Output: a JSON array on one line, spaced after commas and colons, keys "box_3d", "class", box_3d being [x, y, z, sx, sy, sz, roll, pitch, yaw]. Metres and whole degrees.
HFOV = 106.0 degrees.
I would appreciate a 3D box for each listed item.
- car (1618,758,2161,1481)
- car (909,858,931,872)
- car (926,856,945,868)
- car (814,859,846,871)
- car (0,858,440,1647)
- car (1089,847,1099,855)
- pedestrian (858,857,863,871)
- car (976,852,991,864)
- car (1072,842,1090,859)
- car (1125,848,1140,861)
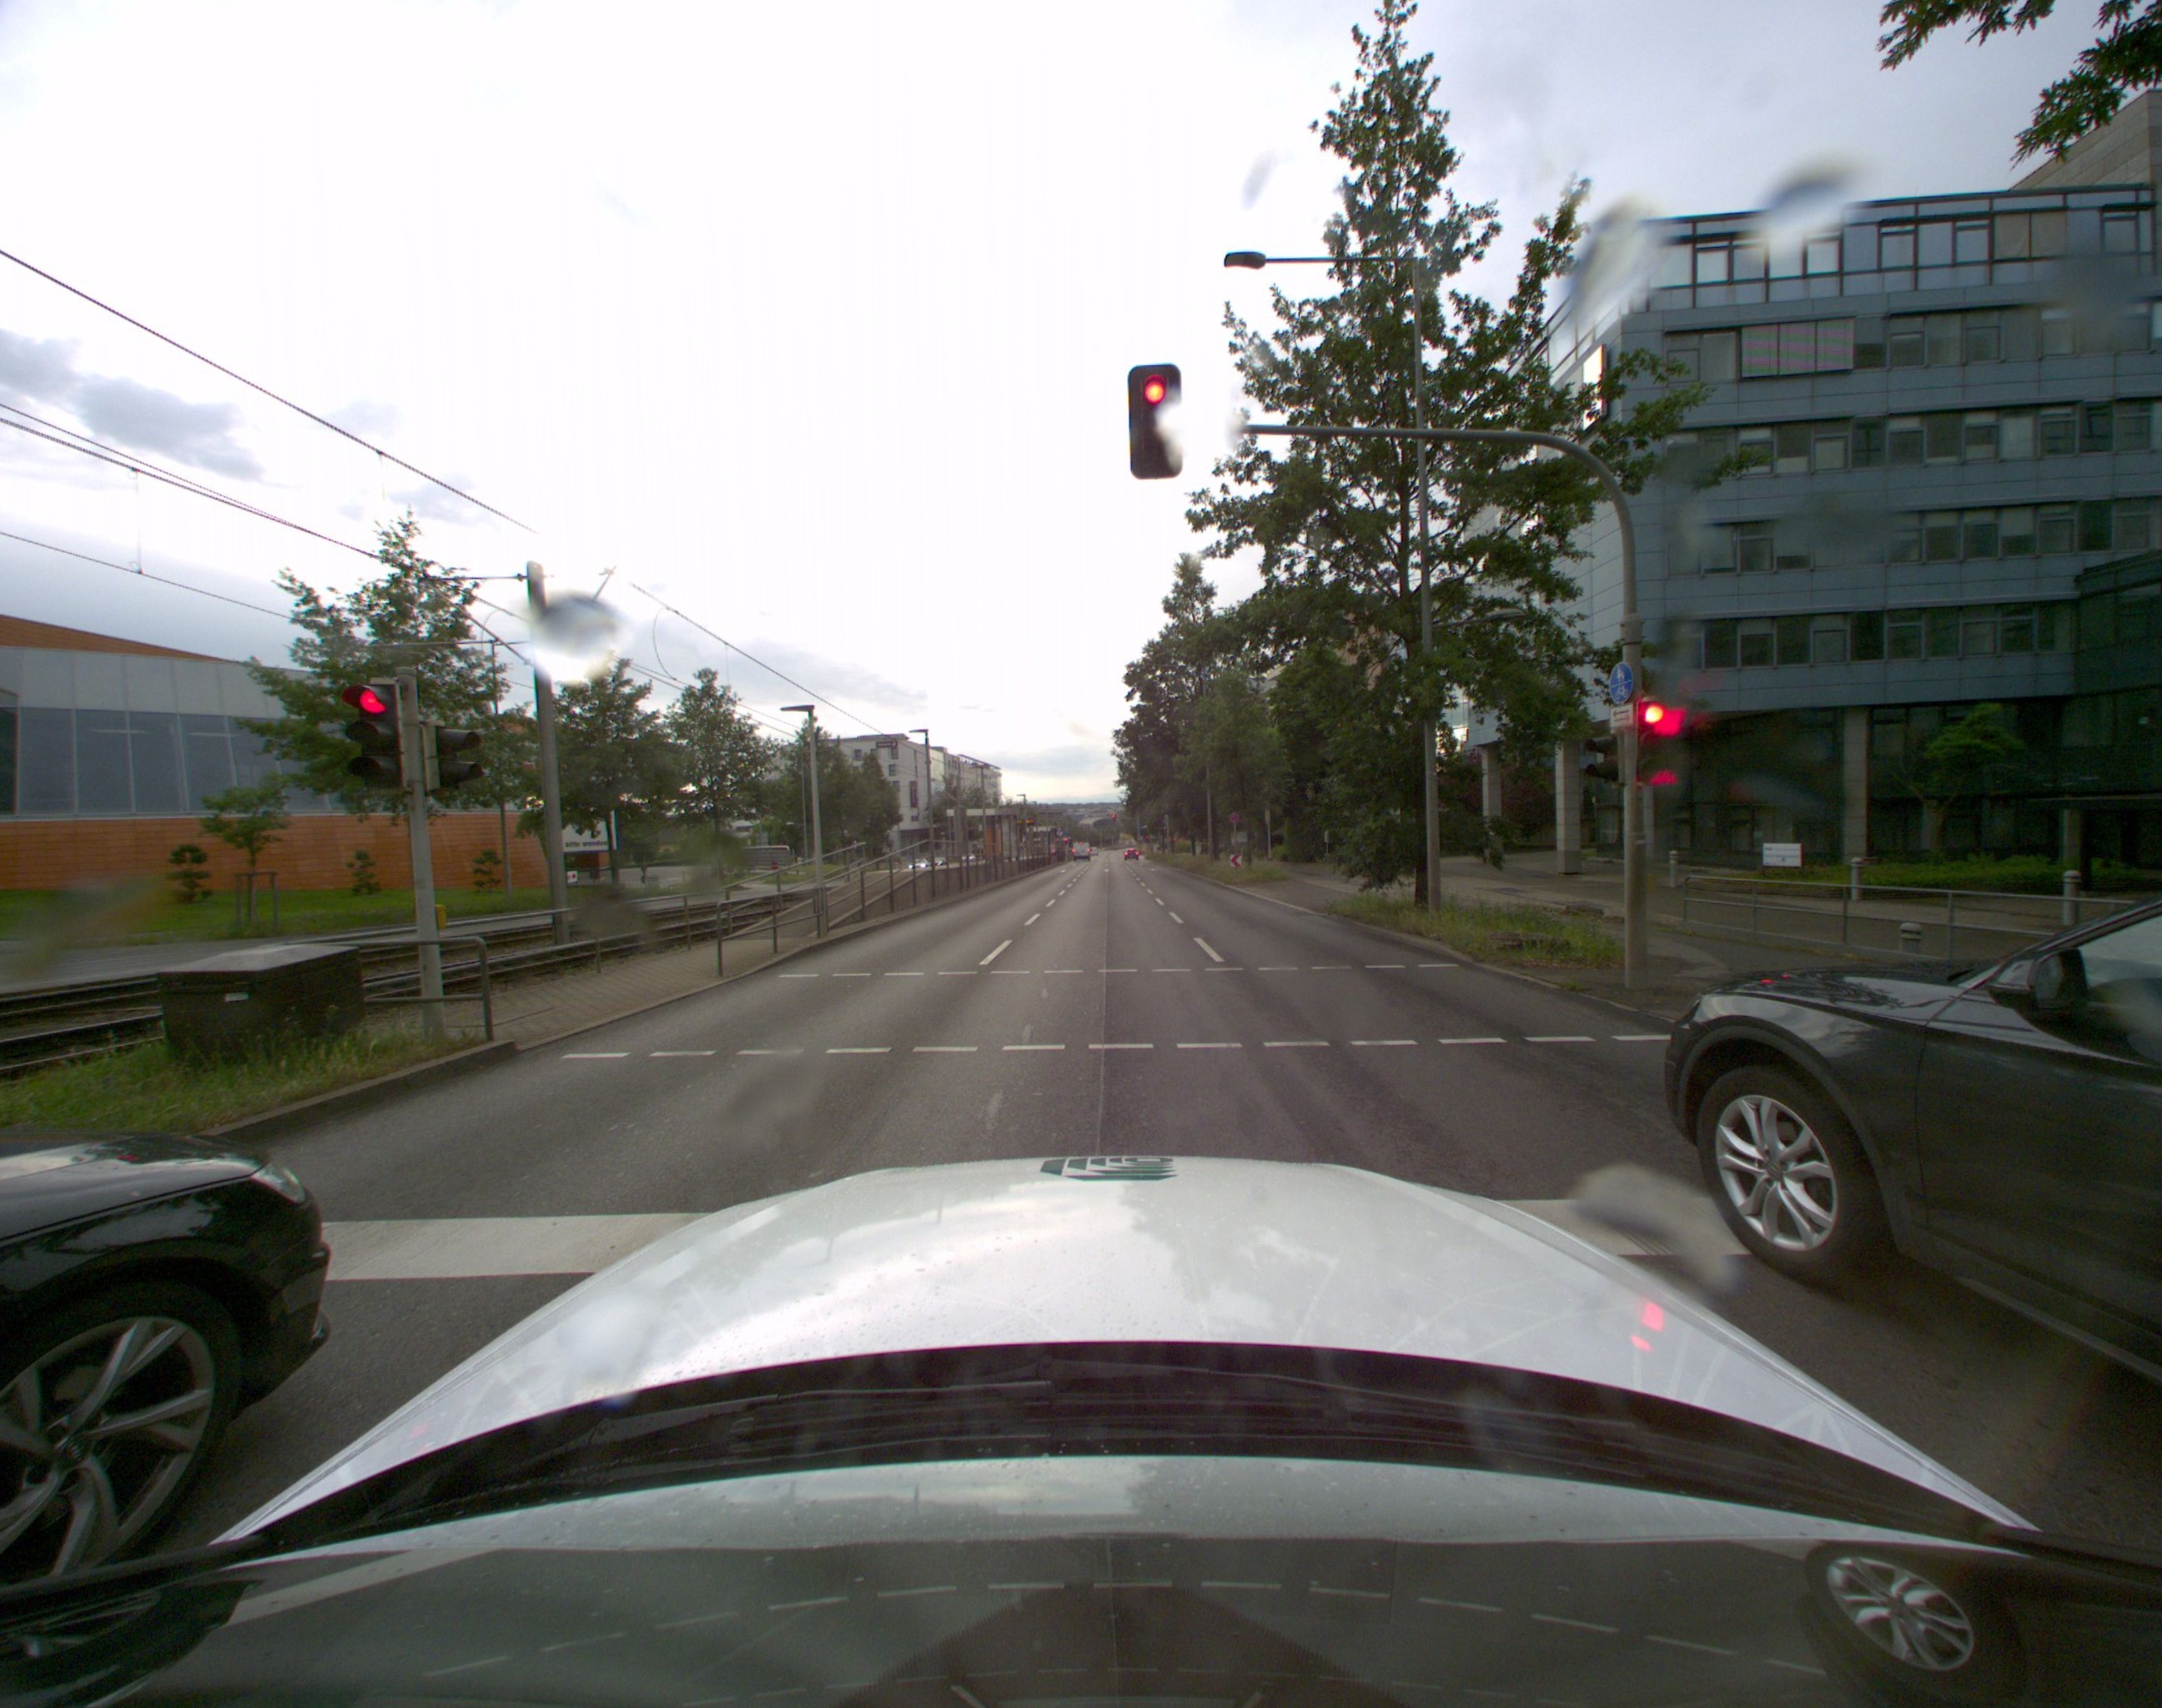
[{"box_3d": [3.294, 0.577, 1.449, 1.811, 1.612, 4.472, -1, 0, 2], "class": "car"}, {"box_3d": [-17.837, 1.188, 90.441, 1.645, 1.436, 3.878, -4, 0, -1], "class": "car"}, {"box_3d": [-17.876, 0.950, 100.218, 1.562, 1.378, 3.518, -2, 0, 0], "class": "car"}, {"box_3d": [-29.875, 1.303, 96.843, 3.341, 1.387, 1.440, -1, 0, 18], "class": "car"}, {"box_3d": [-2.962, 0.777, 0.289, 1.774, 1.466, 4.515, -1, 0, 2], "class": "car"}, {"box_3d": [2.527, -0.567, 154.697, 1.776, 1.390, 4.002, -2, 0, 1], "class": "car"}, {"box_3d": [-30.368, 1.353, 112.048, 0.473, 1.920, 0.490, -1, 0, 1], "class": "pedestrian"}, {"box_3d": [-12.818, 0.498, 106.661, 1.651, 1.436, 3.865, -4, 0, -11], "class": "car"}, {"box_3d": [-0.022, -0.434, 102.451, 2.085, 2.053, 4.608, -1, 0, 2], "class": "car"}, {"box_3d": [6.483, 0.050, 103.007, 1.767, 1.691, 3.847, -1, 0, 2], "class": "car"}]
